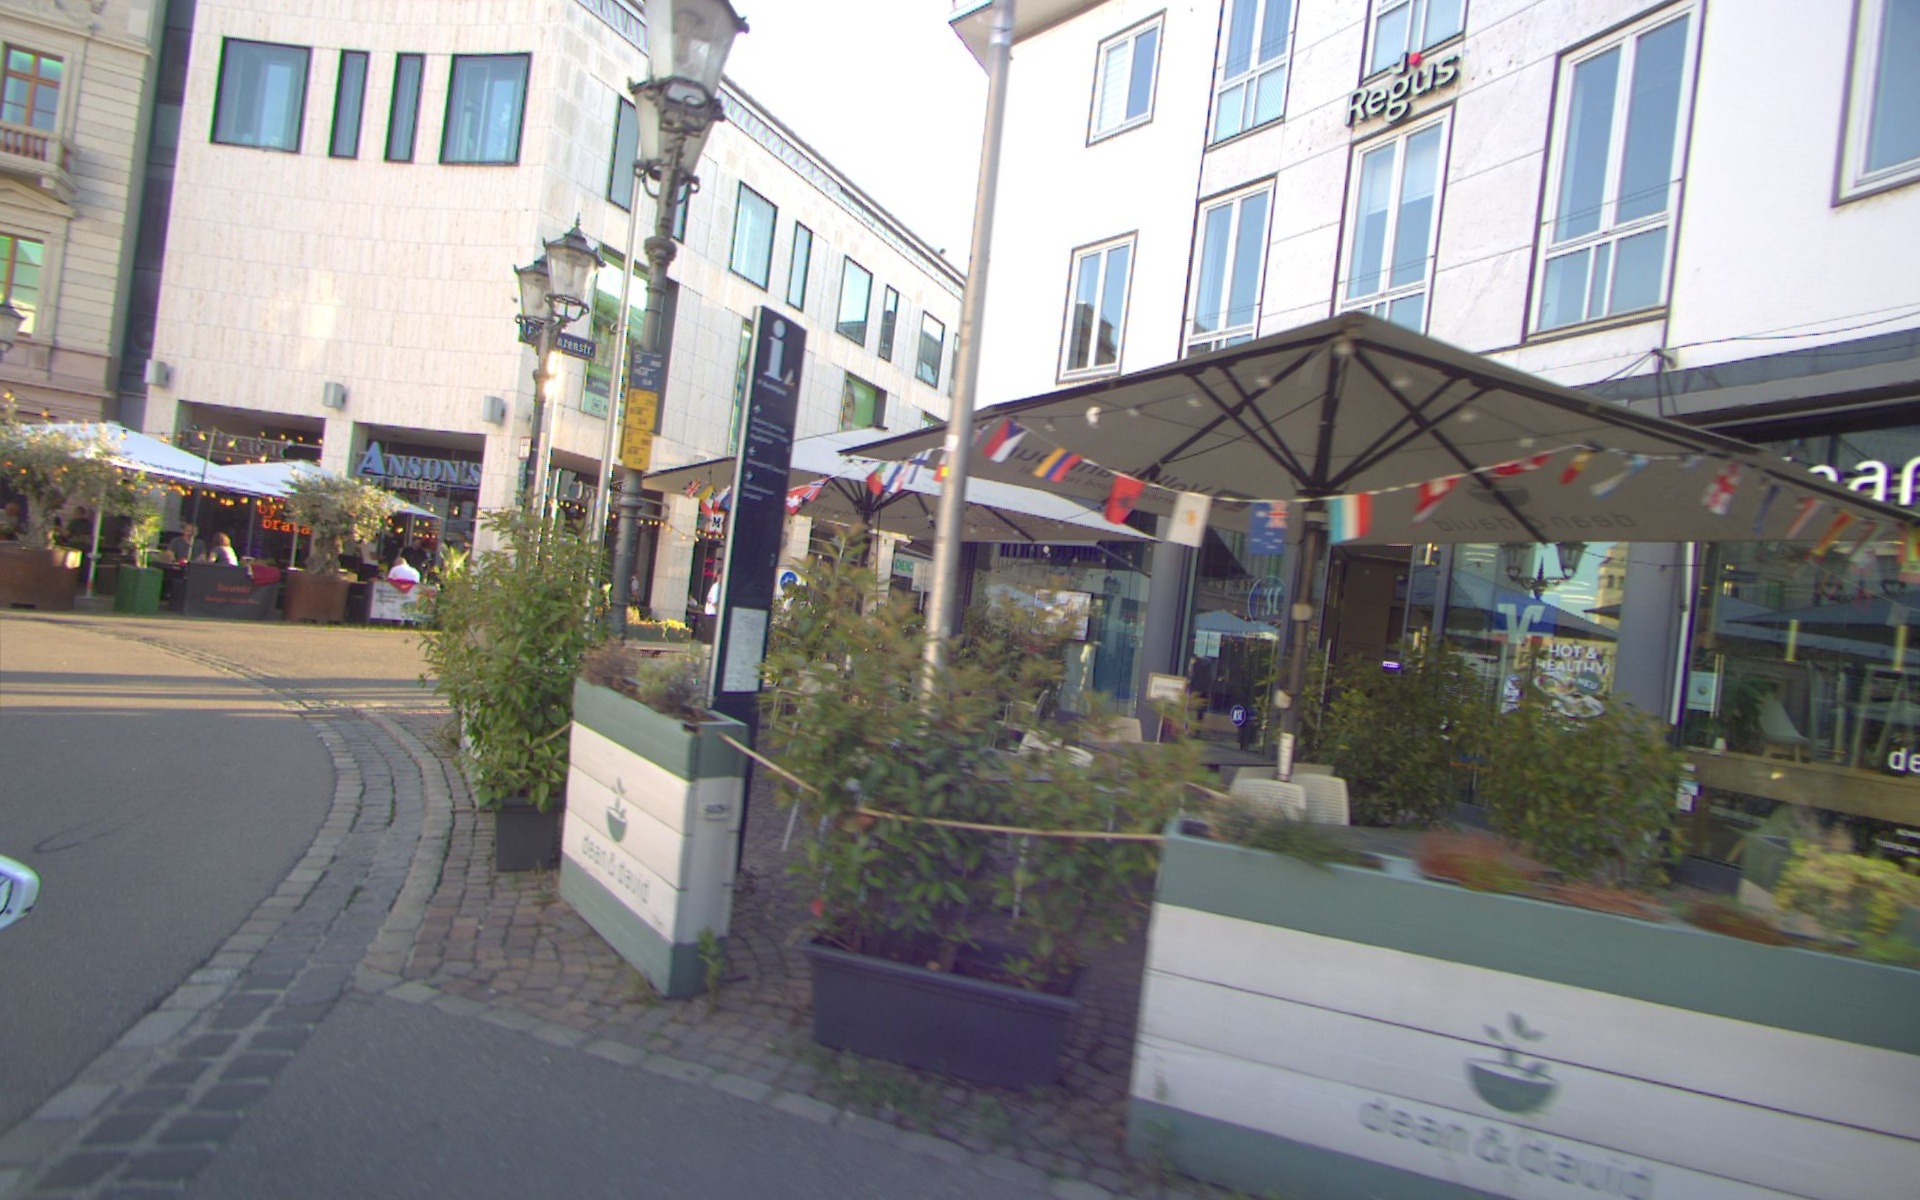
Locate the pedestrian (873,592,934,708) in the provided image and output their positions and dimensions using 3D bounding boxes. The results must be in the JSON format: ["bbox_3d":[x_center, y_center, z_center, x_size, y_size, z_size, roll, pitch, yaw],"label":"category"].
[{"bbox_3d":[-0.874,0.772,15.638,0.592,1.711,0.501,7,0,24],"label":"pedestrian"}]

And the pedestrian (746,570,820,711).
[{"bbox_3d":[-2.501,0.564,14.187,0.777,1.865,0.669,7,0,-13],"label":"pedestrian"}]

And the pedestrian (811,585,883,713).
[{"bbox_3d":[-1.658,0.713,14.910,0.801,1.752,0.759,7,0,-2],"label":"pedestrian"}]

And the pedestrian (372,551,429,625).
[{"bbox_3d":[-10.941,-0.227,19.682,0.711,1.326,0.549,7,0,26],"label":"pedestrian"}]

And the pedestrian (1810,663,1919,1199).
[{"bbox_3d":[2.157,0.994,1.767,0.682,1.667,0.692,7,0,6],"label":"pedestrian"}]

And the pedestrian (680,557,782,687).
[{"bbox_3d":[-3.741,0.377,16.471,0.992,1.955,1.026,7,0,26],"label":"pedestrian"}]

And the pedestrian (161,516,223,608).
[{"bbox_3d":[-13.377,-0.659,17.520,0.552,1.496,0.529,7,0,25],"label":"pedestrian"}]

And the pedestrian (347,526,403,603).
[{"bbox_3d":[-13.521,-0.817,23.264,0.679,1.667,0.696,7,0,18],"label":"pedestrian"}]

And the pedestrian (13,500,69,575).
[{"bbox_3d":[-19.689,-1.329,21.557,0.612,1.496,0.545,7,0,18],"label":"pedestrian"}]

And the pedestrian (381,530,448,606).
[{"bbox_3d":[-13.144,-0.753,24.267,0.851,1.667,0.932,7,0,18],"label":"pedestrian"}]

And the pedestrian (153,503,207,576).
[{"bbox_3d":[-20.006,-1.536,25.808,0.680,1.742,0.618,8,0,2],"label":"pedestrian"}]

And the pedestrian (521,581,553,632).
[{"bbox_3d":[-9.859,0.148,23.452,0.544,1.124,0.534,7,0,-20],"label":"pedestrian"}]

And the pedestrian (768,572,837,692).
[{"bbox_3d":[-2.683,0.535,17.087,0.678,1.920,0.866,7,0,-29],"label":"pedestrian"}]

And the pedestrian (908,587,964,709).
[{"bbox_3d":[-0.386,0.771,16.189,0.552,1.877,0.460,7,0,21],"label":"pedestrian"}]

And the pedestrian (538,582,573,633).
[{"bbox_3d":[-9.765,0.194,24.312,0.462,1.170,0.499,7,0,15],"label":"pedestrian"}]

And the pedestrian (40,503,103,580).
[{"bbox_3d":[-18.740,-1.222,21.238,0.613,1.496,0.624,7,0,-4],"label":"pedestrian"}]

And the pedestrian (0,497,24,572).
[{"bbox_3d":[-19.895,-1.379,20.695,0.612,1.496,0.592,7,0,18],"label":"pedestrian"}]

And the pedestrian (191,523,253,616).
[{"bbox_3d":[-12.629,-0.518,17.216,0.553,1.496,0.529,7,0,27],"label":"pedestrian"}]
